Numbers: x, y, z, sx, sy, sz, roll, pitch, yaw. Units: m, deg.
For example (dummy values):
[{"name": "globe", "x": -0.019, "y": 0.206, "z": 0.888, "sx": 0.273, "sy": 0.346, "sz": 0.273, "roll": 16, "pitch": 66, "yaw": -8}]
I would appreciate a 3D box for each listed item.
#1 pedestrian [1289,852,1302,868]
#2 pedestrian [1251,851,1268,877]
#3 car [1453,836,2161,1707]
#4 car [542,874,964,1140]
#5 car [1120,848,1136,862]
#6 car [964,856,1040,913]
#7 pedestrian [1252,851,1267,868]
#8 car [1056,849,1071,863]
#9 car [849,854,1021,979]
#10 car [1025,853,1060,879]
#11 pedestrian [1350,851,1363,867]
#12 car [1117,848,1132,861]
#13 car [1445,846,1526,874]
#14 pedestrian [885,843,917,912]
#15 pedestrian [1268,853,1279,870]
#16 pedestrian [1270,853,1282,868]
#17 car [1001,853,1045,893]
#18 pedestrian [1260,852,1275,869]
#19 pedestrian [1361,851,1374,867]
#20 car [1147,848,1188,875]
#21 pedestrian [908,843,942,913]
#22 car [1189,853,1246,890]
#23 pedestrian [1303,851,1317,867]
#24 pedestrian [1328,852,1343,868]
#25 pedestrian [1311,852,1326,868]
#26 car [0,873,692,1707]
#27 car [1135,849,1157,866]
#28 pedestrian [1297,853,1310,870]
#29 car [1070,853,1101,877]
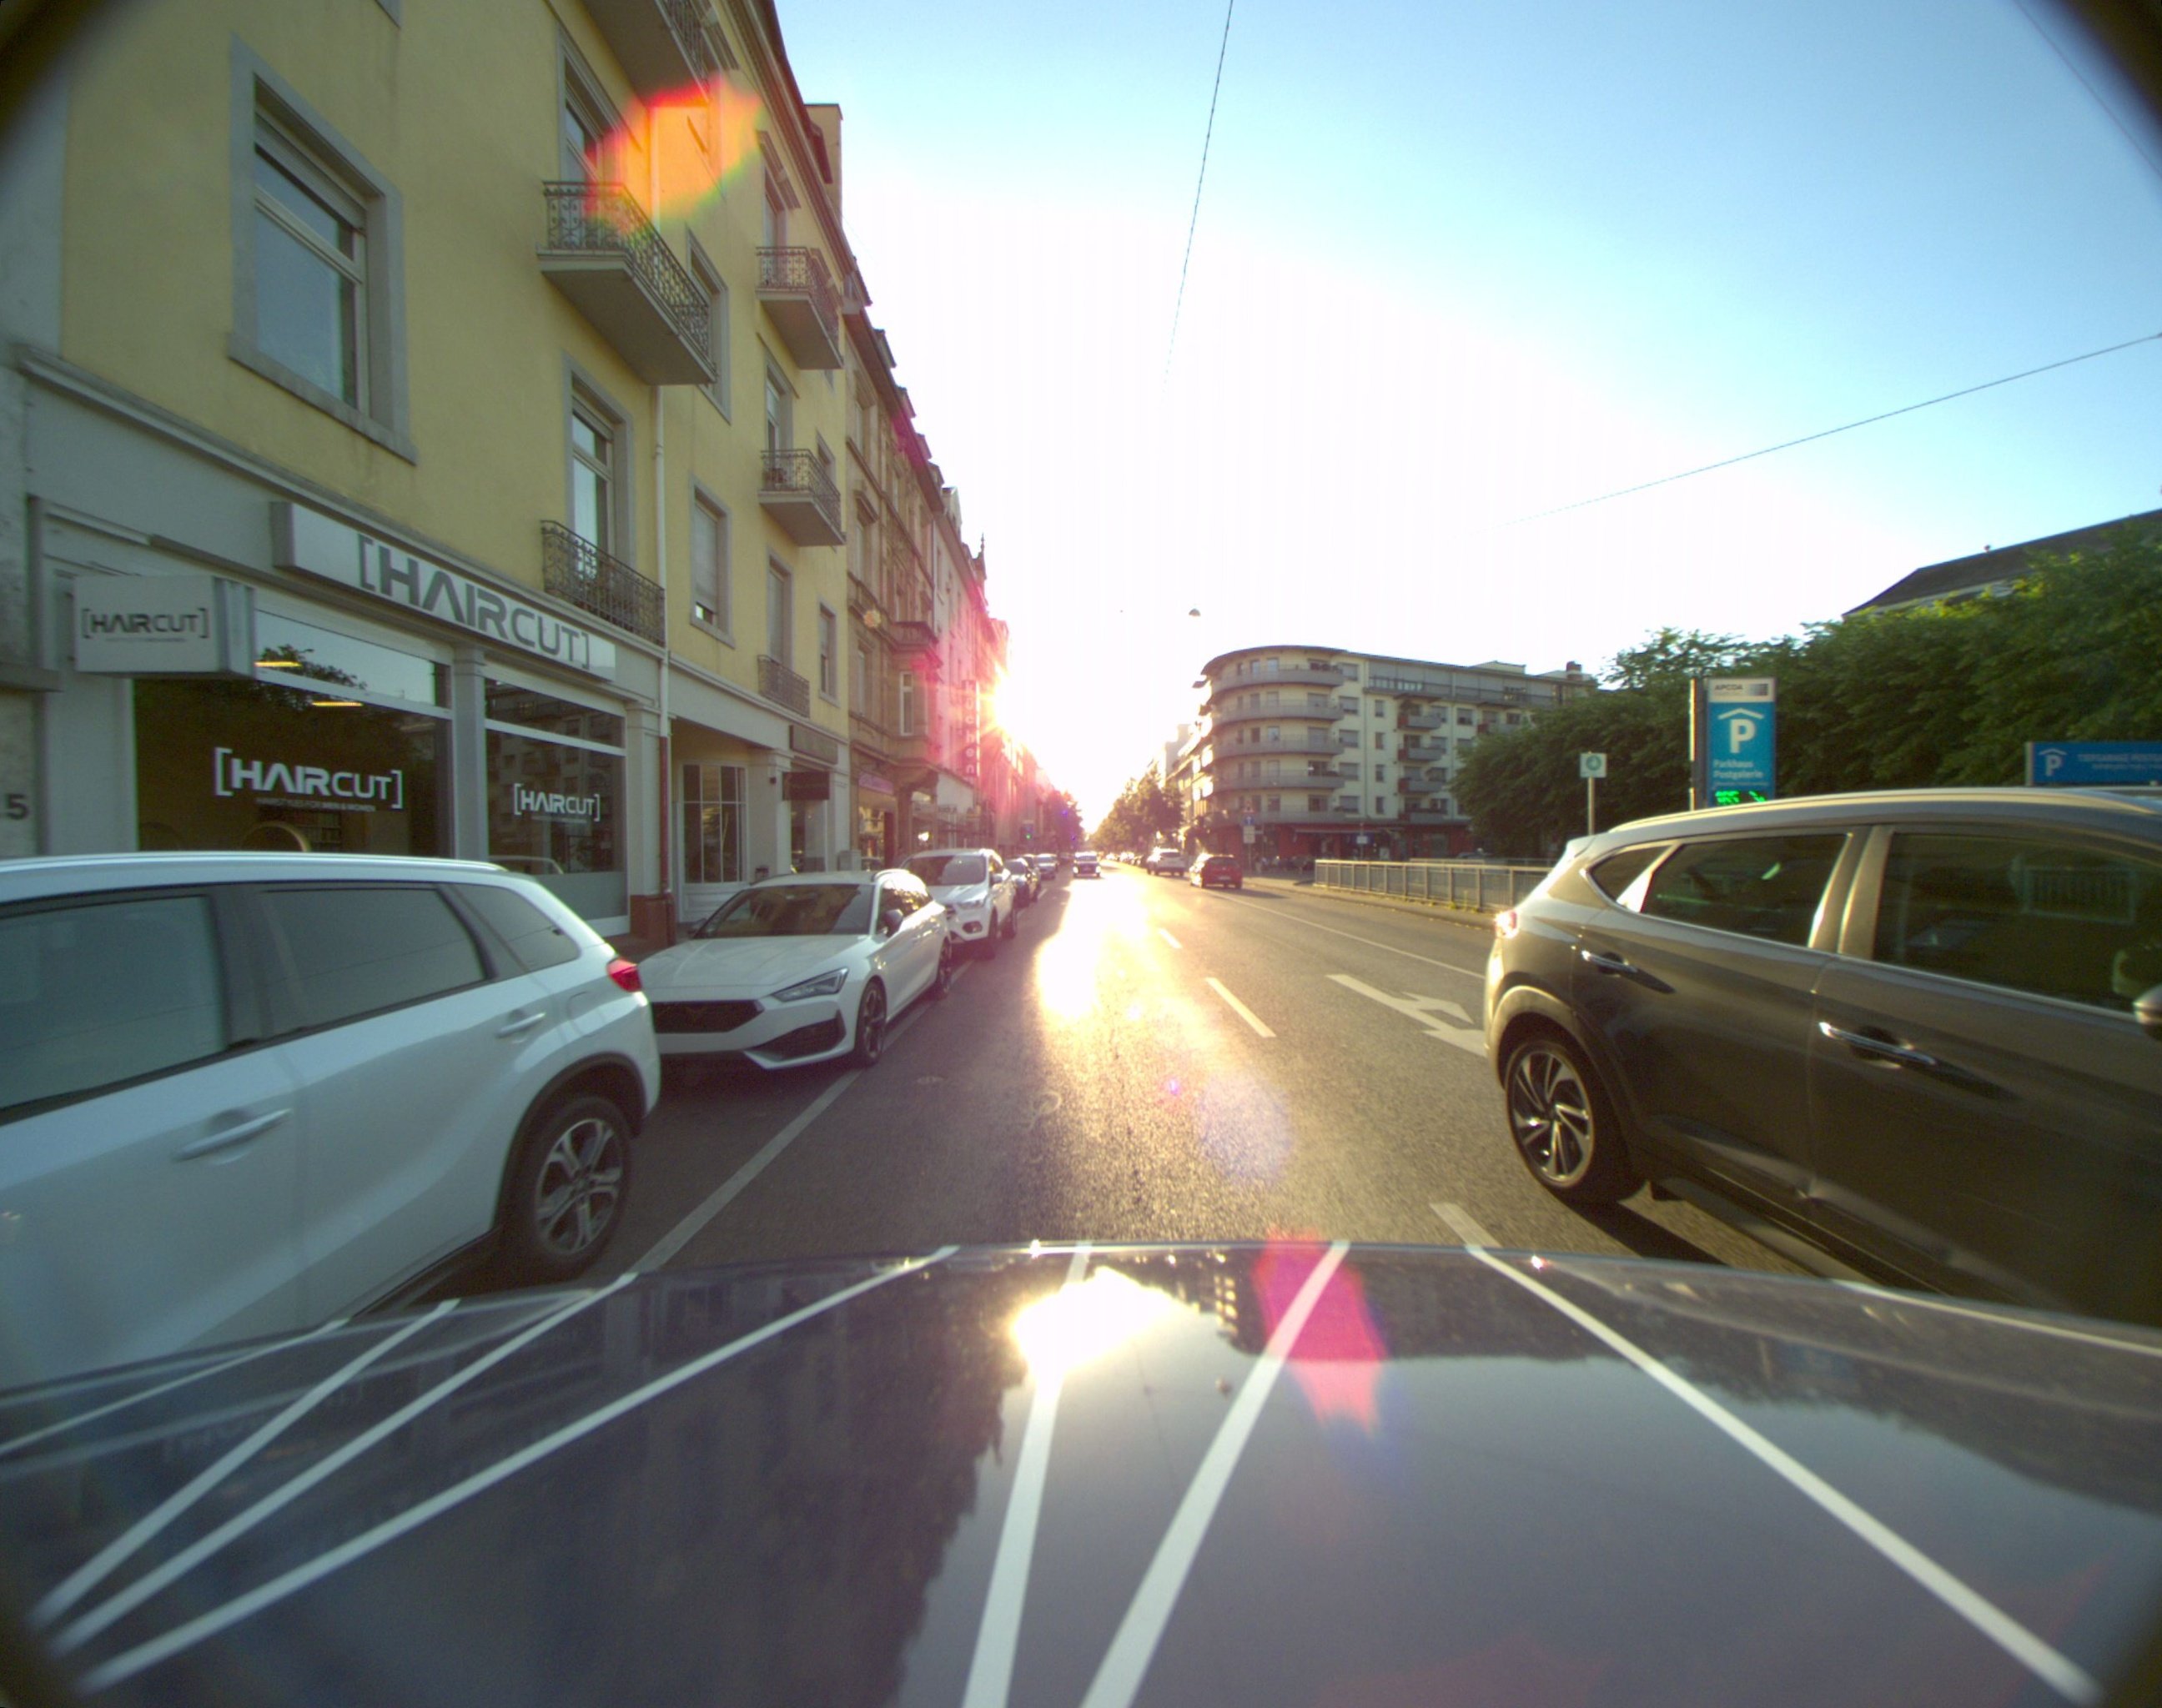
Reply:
[{"name": "pedestrian", "x": 17.185, "y": 0.478, "z": 60.954, "sx": 0.732, "sy": 1.314, "sz": 0.889, "roll": -1, "pitch": 1, "yaw": 0}, {"name": "pedestrian", "x": 10.539, "y": 0.616, "z": 44.829, "sx": 0.678, "sy": 1.509, "sz": 0.676, "roll": -2, "pitch": 1, "yaw": -42}, {"name": "car", "x": 2.864, "y": 0.803, "z": 1.674, "sx": 1.877, "sy": 1.679, "sz": 4.449, "roll": 0, "pitch": 0, "yaw": -1}, {"name": "car", "x": -2.365, "y": 1.003, "z": 6.952, "sx": 1.738, "sy": 1.448, "sz": 4.610, "roll": -1, "pitch": 0, "yaw": 1}, {"name": "car", "x": 6.699, "y": 0.140, "z": 108.591, "sx": 1.999, "sy": 1.805, "sz": 3.999, "roll": -1, "pitch": 0, "yaw": -1}, {"name": "car", "x": -2.363, "y": 0.873, "z": 23.767, "sx": 1.908, "sy": 1.531, "sz": 4.449, "roll": -1, "pitch": 0, "yaw": -1}, {"name": "pedestrian", "x": 14.048, "y": 0.449, "z": 59.823, "sx": 0.890, "sy": 1.314, "sz": 0.731, "roll": -2, "pitch": 1, "yaw": -26}, {"name": "car", "x": -2.612, "y": 0.301, "z": 112.161, "sx": 1.999, "sy": 1.806, "sz": 3.997, "roll": -1, "pitch": 2, "yaw": -3}, {"name": "car", "x": -2.186, "y": 0.862, "z": 12.643, "sx": 1.877, "sy": 1.664, "sz": 4.430, "roll": -1, "pitch": 0, "yaw": 1}, {"name": "car", "x": -2.299, "y": 0.689, "z": 46.549, "sx": 1.908, "sy": 1.421, "sz": 4.449, "roll": -1, "pitch": 0, "yaw": -1}, {"name": "pedestrian", "x": 23.245, "y": 0.420, "z": 64.119, "sx": 0.731, "sy": 1.314, "sz": 0.890, "roll": -1, "pitch": 1, "yaw": 40}, {"name": "car", "x": 6.495, "y": 0.110, "z": 113.364, "sx": 1.999, "sy": 1.805, "sz": 3.999, "roll": -1, "pitch": 0, "yaw": -1}, {"name": "car", "x": 25.259, "y": 0.376, "z": 47.584, "sx": 2.003, "sy": 1.642, "sz": 3.991, "roll": -2, "pitch": 1, "yaw": -28}, {"name": "pedestrian", "x": -5.334, "y": 0.677, "z": 22.600, "sx": 0.673, "sy": 2.002, "sz": 0.851, "roll": -1, "pitch": 1, "yaw": 1}, {"name": "pedestrian", "x": 15.451, "y": 0.589, "z": 60.912, "sx": 0.677, "sy": 1.314, "sz": 0.611, "roll": -1, "pitch": 1, "yaw": -1}, {"name": "pedestrian", "x": 15.389, "y": 0.525, "z": 59.936, "sx": 0.887, "sy": 1.185, "sz": 0.733, "roll": -1, "pitch": 1, "yaw": 10}, {"name": "car", "x": -2.489, "y": 0.788, "z": 33.483, "sx": 1.645, "sy": 1.574, "sz": 4.201, "roll": -1, "pitch": 0, "yaw": -1}, {"name": "pedestrian", "x": 14.483, "y": 0.499, "z": 59.001, "sx": 0.890, "sy": 1.314, "sz": 0.731, "roll": -2, "pitch": 1, "yaw": -30}, {"name": "pedestrian", "x": 23.949, "y": 0.414, "z": 63.516, "sx": 0.731, "sy": 1.314, "sz": 0.890, "roll": -1, "pitch": 1, "yaw": 40}, {"name": "car", "x": 5.548, "y": 0.470, "z": 49.279, "sx": 1.878, "sy": 1.621, "sz": 4.177, "roll": 1, "pitch": 0, "yaw": -5}, {"name": "pedestrian", "x": -4.585, "y": 0.692, "z": 22.435, "sx": 0.763, "sy": 2.002, "sz": 0.851, "roll": -1, "pitch": 1, "yaw": 1}, {"name": "car", "x": 5.959, "y": 0.718, "z": 33.578, "sx": 1.790, "sy": 1.458, "sz": 3.956, "roll": 0, "pitch": 1, "yaw": -1}, {"name": "pedestrian", "x": 18.797, "y": 0.408, "z": 62.393, "sx": 0.688, "sy": 1.314, "sz": 0.819, "roll": -2, "pitch": 1, "yaw": -23}, {"name": "pedestrian", "x": 20.824, "y": 0.474, "z": 62.192, "sx": 0.733, "sy": 1.314, "sz": 0.887, "roll": -2, "pitch": 1, "yaw": -14}, {"name": "pedestrian", "x": 19.091, "y": 0.478, "z": 61.055, "sx": 0.733, "sy": 1.314, "sz": 0.888, "roll": -2, "pitch": 1, "yaw": -13}, {"name": "car", "x": -2.770, "y": 0.927, "z": 1.410, "sx": 1.821, "sy": 1.611, "sz": 4.203, "roll": -1, "pitch": 0, "yaw": 1}, {"name": "car", "x": 7.372, "y": 0.349, "z": 86.369, "sx": 1.999, "sy": 1.805, "sz": 3.999, "roll": -1, "pitch": 0, "yaw": -1}, {"name": "pedestrian", "x": 17.879, "y": 0.614, "z": 60.991, "sx": 0.732, "sy": 1.314, "sz": 0.888, "roll": -1, "pitch": 1, "yaw": -2}, {"name": "car", "x": 0.249, "y": 0.673, "z": 48.922, "sx": 1.908, "sy": 1.438, "sz": 4.449, "roll": -1, "pitch": 0, "yaw": -1}]
